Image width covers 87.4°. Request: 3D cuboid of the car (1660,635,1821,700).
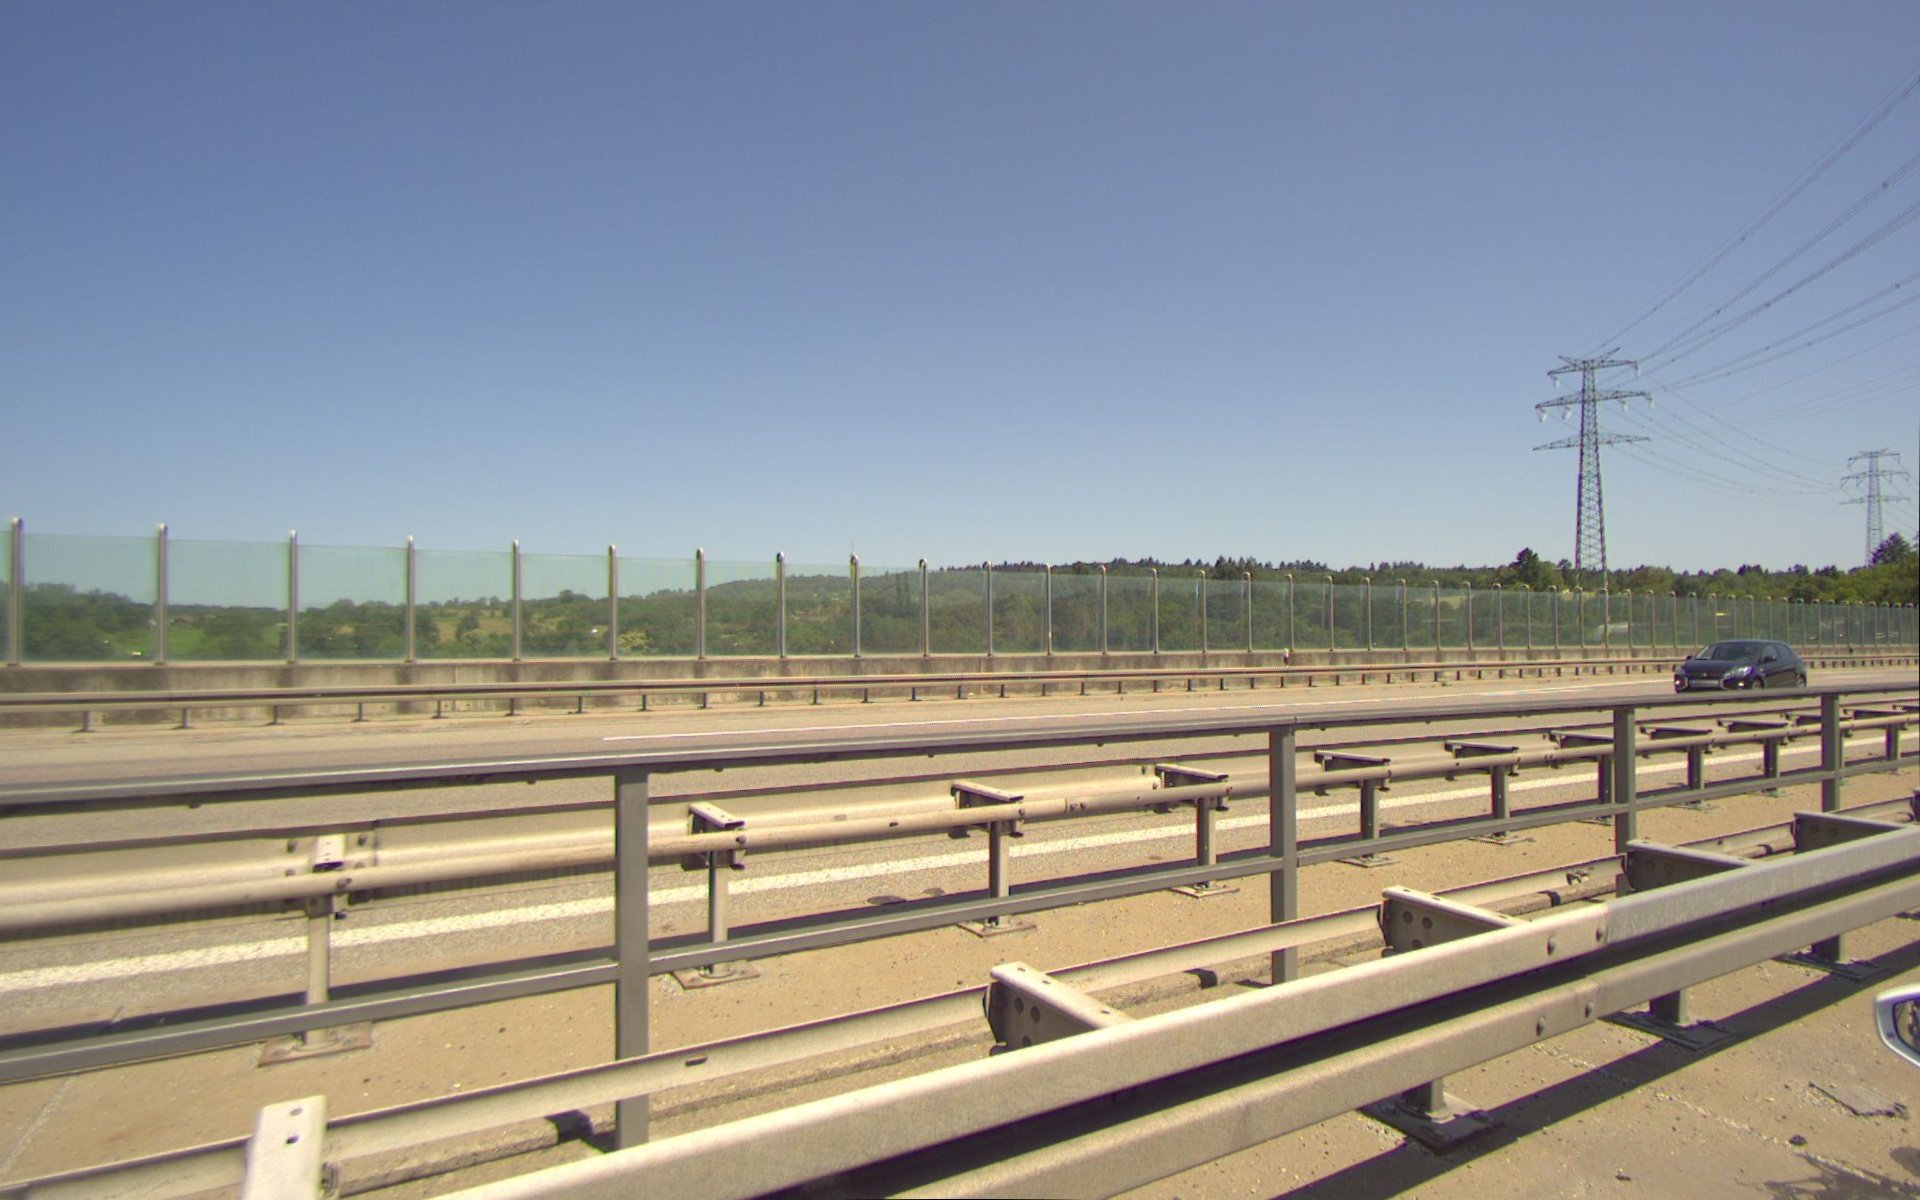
[{"bbox_3d":[19.710,1.642,25.326,4.368,1.511,1.721,1,-3,-31],"label":"car"}]
